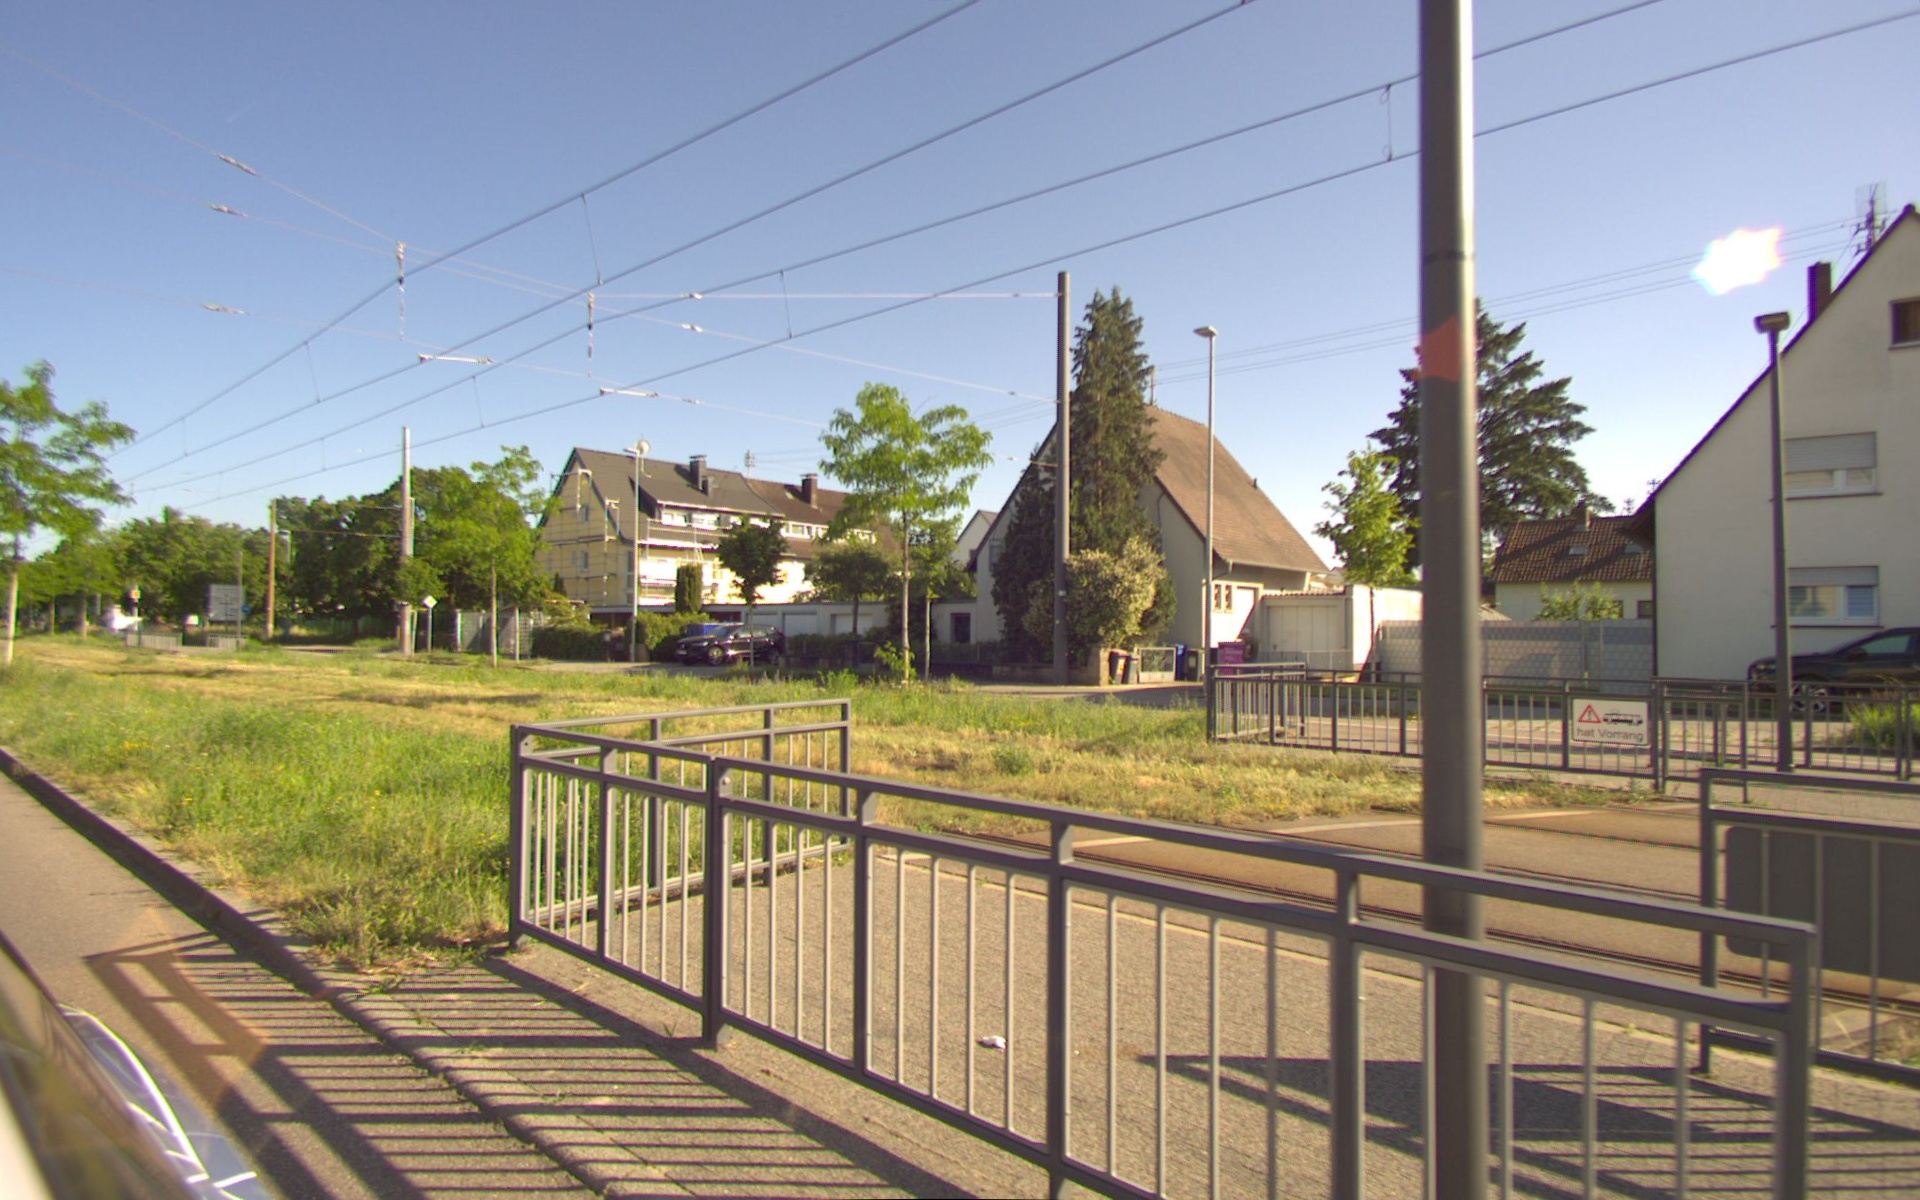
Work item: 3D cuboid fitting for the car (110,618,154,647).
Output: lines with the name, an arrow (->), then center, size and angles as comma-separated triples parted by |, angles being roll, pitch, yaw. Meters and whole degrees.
car -> -58.060, 2.276, 70.947 | 4.704, 1.929, 1.876 | -2, -3, 45

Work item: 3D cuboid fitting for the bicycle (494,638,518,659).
bicycle -> -22.530, 2.401, 50.236 | 1.748, 0.949, 0.419 | -1, -1, 41

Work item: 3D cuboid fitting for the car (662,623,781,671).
car -> -9.305, 1.831, 39.893 | 2.044, 1.748, 4.509 | -1, -3, 29

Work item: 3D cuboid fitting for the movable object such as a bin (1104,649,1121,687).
movable object such as a bin -> 4.034, 1.797, 26.774 | 0.350, 0.977, 0.323 | -1, -1, 37

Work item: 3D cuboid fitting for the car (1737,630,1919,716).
car -> 17.257, 1.289, 18.153 | 5.160, 1.461, 1.914 | -1, -2, 41

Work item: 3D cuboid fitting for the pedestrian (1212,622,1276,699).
pedestrian -> 6.315, 1.328, 22.510 | 1.085, 1.653, 0.955 | -1, -3, 41

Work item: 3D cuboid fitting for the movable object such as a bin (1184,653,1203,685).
movable object such as a bin -> 6.857, 2.019, 29.725 | 0.451, 0.904, 0.367 | -1, -1, 37

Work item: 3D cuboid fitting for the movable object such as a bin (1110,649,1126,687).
movable object such as a bin -> 4.220, 1.814, 27.038 | 0.333, 0.973, 0.295 | -1, -1, 37

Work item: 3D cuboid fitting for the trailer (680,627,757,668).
trailer -> -10.065, 1.972, 42.282 | 1.397, 1.660, 2.885 | -1, -2, 38

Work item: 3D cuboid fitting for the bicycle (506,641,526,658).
bicycle -> -22.478, 2.499, 51.195 | 1.508, 0.827, 0.307 | -1, -1, 41
